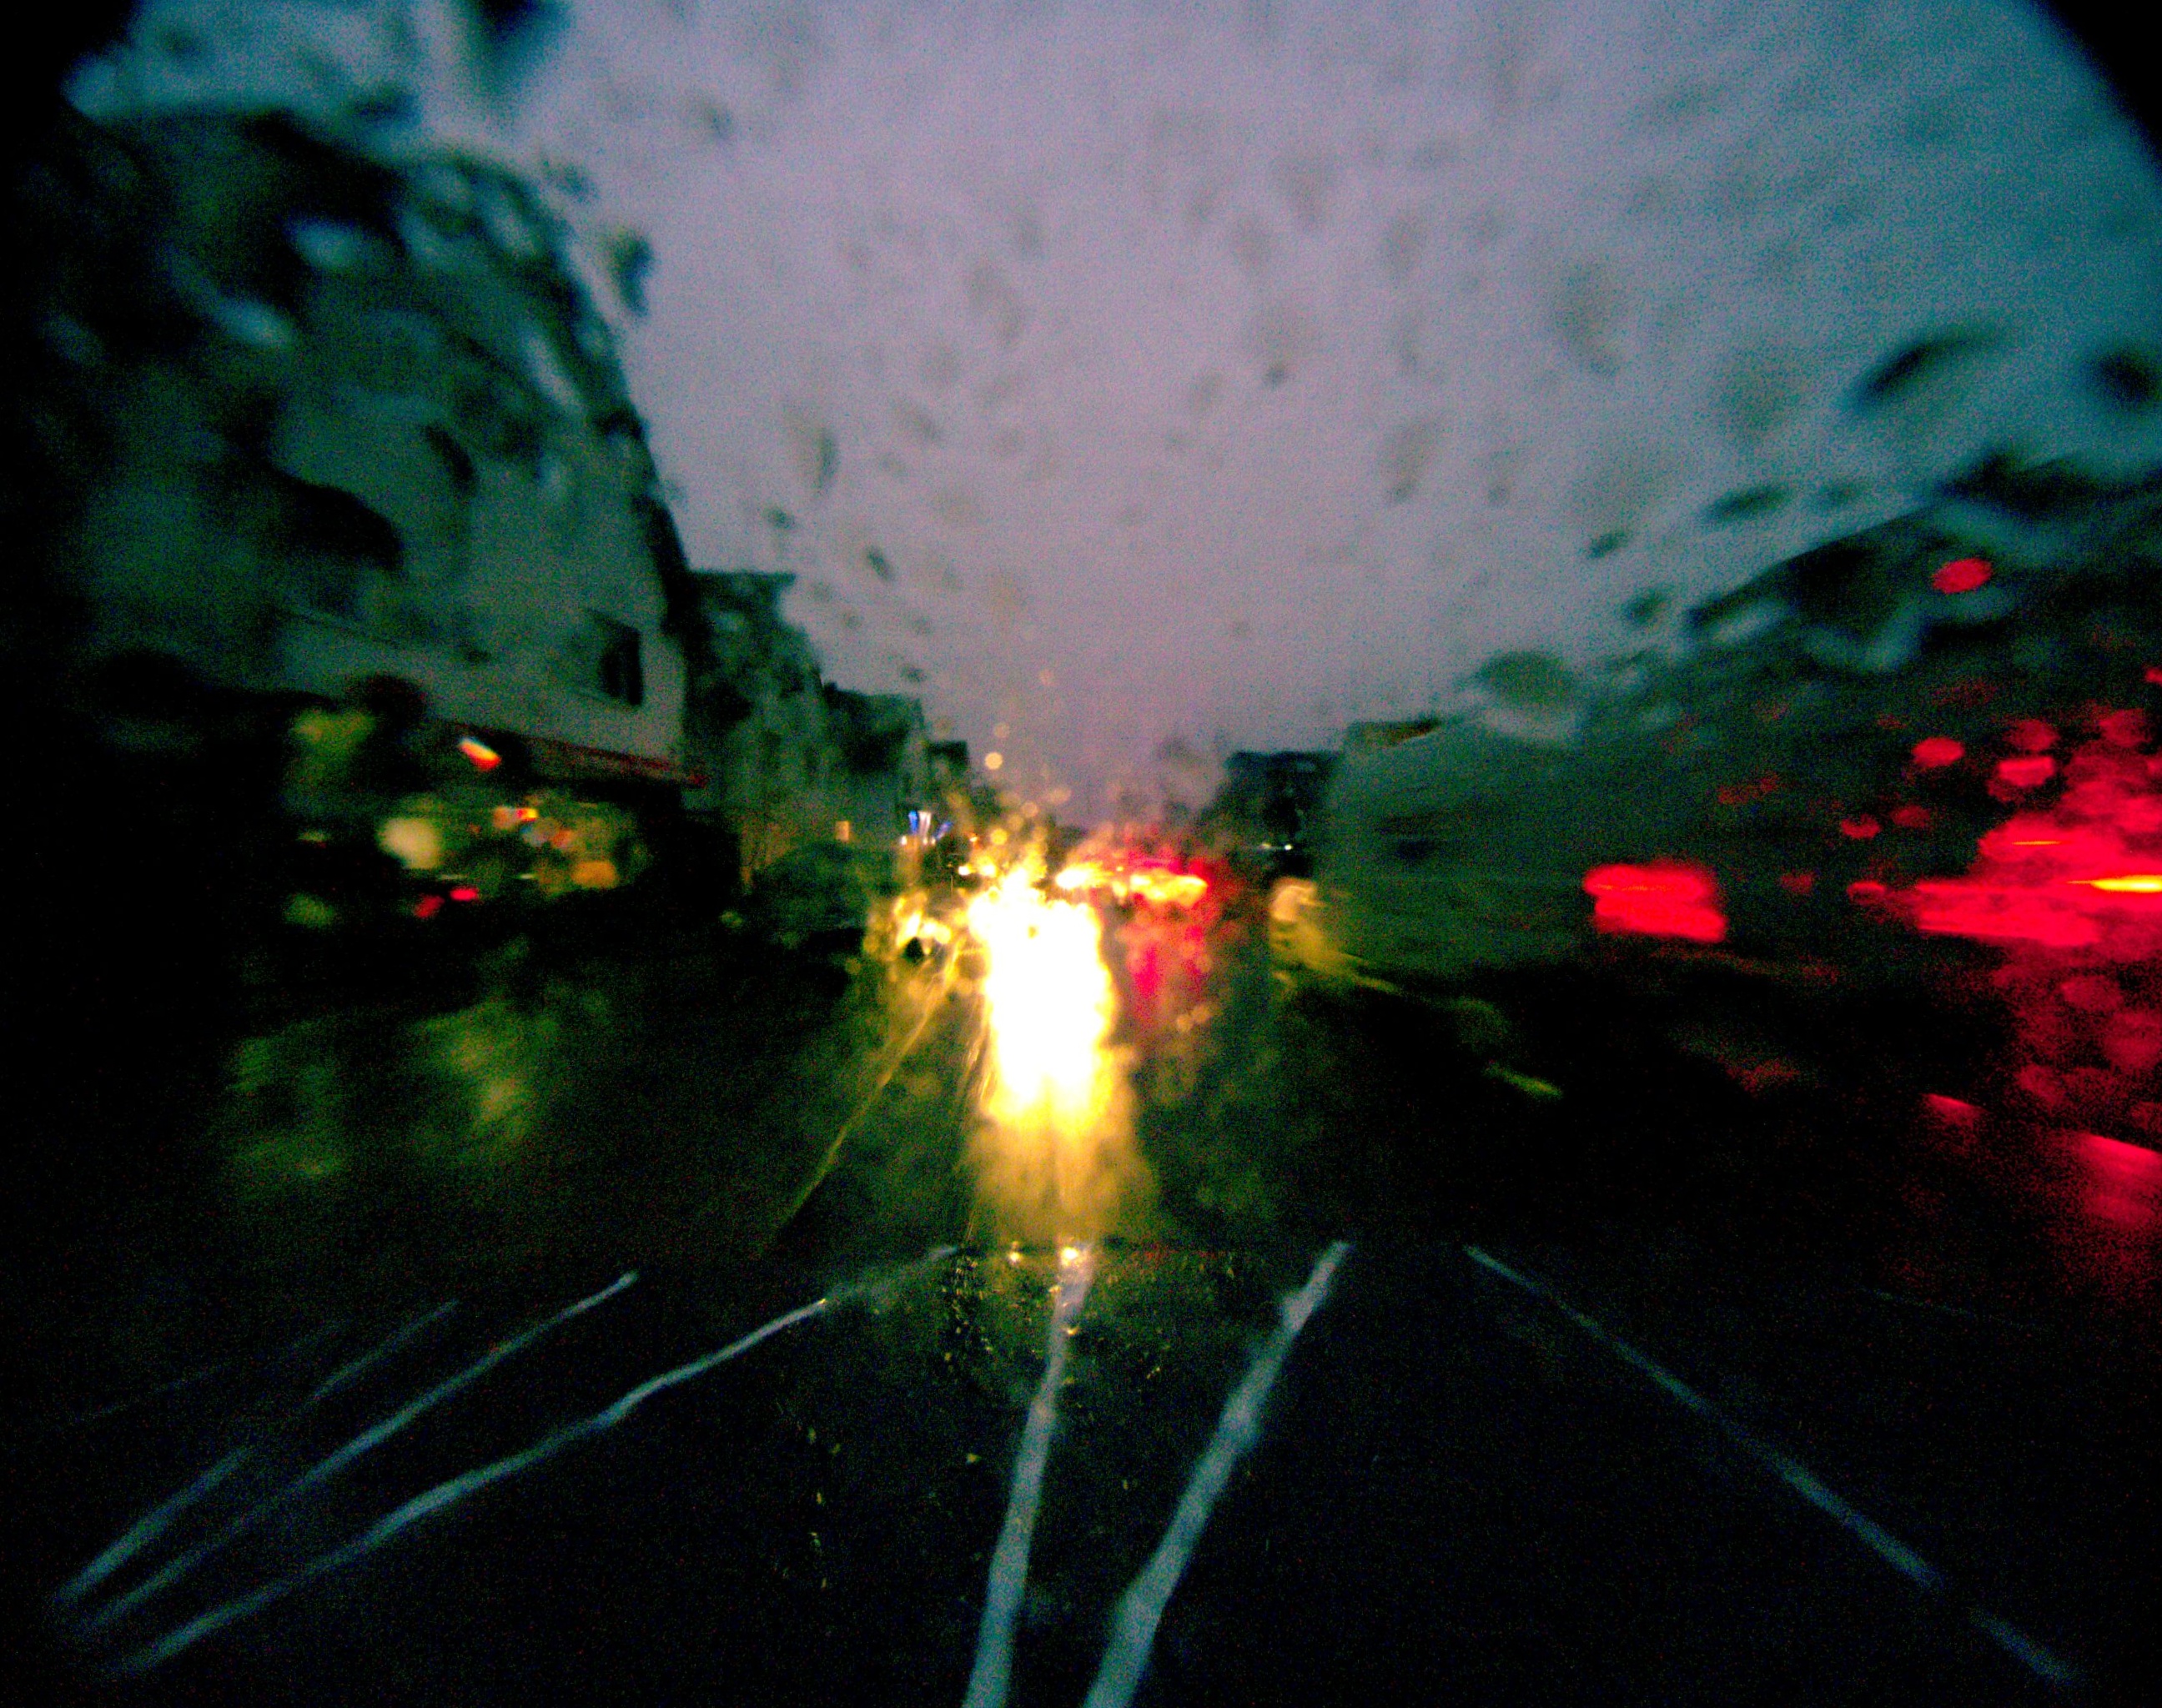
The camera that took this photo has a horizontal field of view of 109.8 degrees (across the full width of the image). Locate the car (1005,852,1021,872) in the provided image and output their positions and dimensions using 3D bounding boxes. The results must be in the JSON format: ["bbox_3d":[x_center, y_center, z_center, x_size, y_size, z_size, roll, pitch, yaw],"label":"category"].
[{"bbox_3d":[-6.856,0.780,76.797,1.532,2.002,3.999,0,0,-3],"label":"car"}]

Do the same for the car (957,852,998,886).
[{"bbox_3d":[-5.656,0.781,41.997,1.999,1.774,4.518,0,0,-4],"label":"car"}]

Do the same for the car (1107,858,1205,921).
[{"bbox_3d":[1.897,0.868,20.652,1.831,1.509,4.546,0,0,-5],"label":"car"}]

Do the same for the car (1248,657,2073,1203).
[{"bbox_3d":[3.394,0.352,6.582,2.201,2.476,6.140,0,0,-4],"label":"car"}]

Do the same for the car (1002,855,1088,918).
[{"bbox_3d":[-1.003,0.877,22.791,2.270,1.633,5.065,-1,0,-1],"label":"car"}]

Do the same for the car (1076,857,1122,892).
[{"bbox_3d":[0.751,0.874,33.771,1.624,1.471,3.837,1,0,-5],"label":"car"}]

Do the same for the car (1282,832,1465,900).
[{"bbox_3d":[7.551,0.298,19.864,3.998,1.674,1.999,0,0,-4],"label":"car"}]

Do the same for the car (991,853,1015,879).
[{"bbox_3d":[-6.144,0.950,60.190,1.749,2.001,3.806,2,-1,-4],"label":"car"}]

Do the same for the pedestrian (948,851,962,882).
[{"bbox_3d":[-7.128,0.717,43.046,0.650,1.710,0.468,2,0,2],"label":"pedestrian"}]

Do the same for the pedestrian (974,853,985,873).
[{"bbox_3d":[-8.576,0.755,64.308,0.820,1.754,1.059,0,0,-4],"label":"pedestrian"}]

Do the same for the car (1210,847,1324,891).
[{"bbox_3d":[8.108,0.651,33.425,4.515,1.855,1.868,0,0,-4],"label":"car"}]

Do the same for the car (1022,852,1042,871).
[{"bbox_3d":[-5.272,0.795,81.751,1.866,2.002,3.841,0,0,-8],"label":"car"}]

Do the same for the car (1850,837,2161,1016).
[{"bbox_3d":[11.430,0.635,8.071,4.447,1.623,2.154,0,1,-3],"label":"car"}]

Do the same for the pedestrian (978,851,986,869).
[{"bbox_3d":[-9.281,0.562,70.967,0.656,1.596,0.723,0,0,-1],"label":"pedestrian"}]

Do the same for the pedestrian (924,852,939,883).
[{"bbox_3d":[-8.348,0.733,42.433,0.609,1.710,0.651,2,0,2],"label":"pedestrian"}]

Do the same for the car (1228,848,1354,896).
[{"bbox_3d":[8.470,0.706,30.866,4.515,1.855,1.999,0,0,-4],"label":"car"}]

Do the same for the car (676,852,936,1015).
[{"bbox_3d":[-3.211,0.813,9.941,1.980,1.651,4.459,0,0,-3],"label":"car"}]

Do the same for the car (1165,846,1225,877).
[{"bbox_3d":[7.826,0.518,52.378,3.806,1.940,1.749,2,-1,-4],"label":"car"}]

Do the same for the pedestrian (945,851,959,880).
[{"bbox_3d":[-8.013,0.707,47.243,0.649,1.786,0.508,2,0,8],"label":"pedestrian"}]

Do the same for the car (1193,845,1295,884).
[{"bbox_3d":[7.681,0.508,36.021,4.426,1.790,1.844,0,0,-4],"label":"car"}]

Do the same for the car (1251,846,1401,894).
[{"bbox_3d":[8.947,0.590,28.005,4.878,1.674,2.000,0,-1,-2],"label":"car"}]
